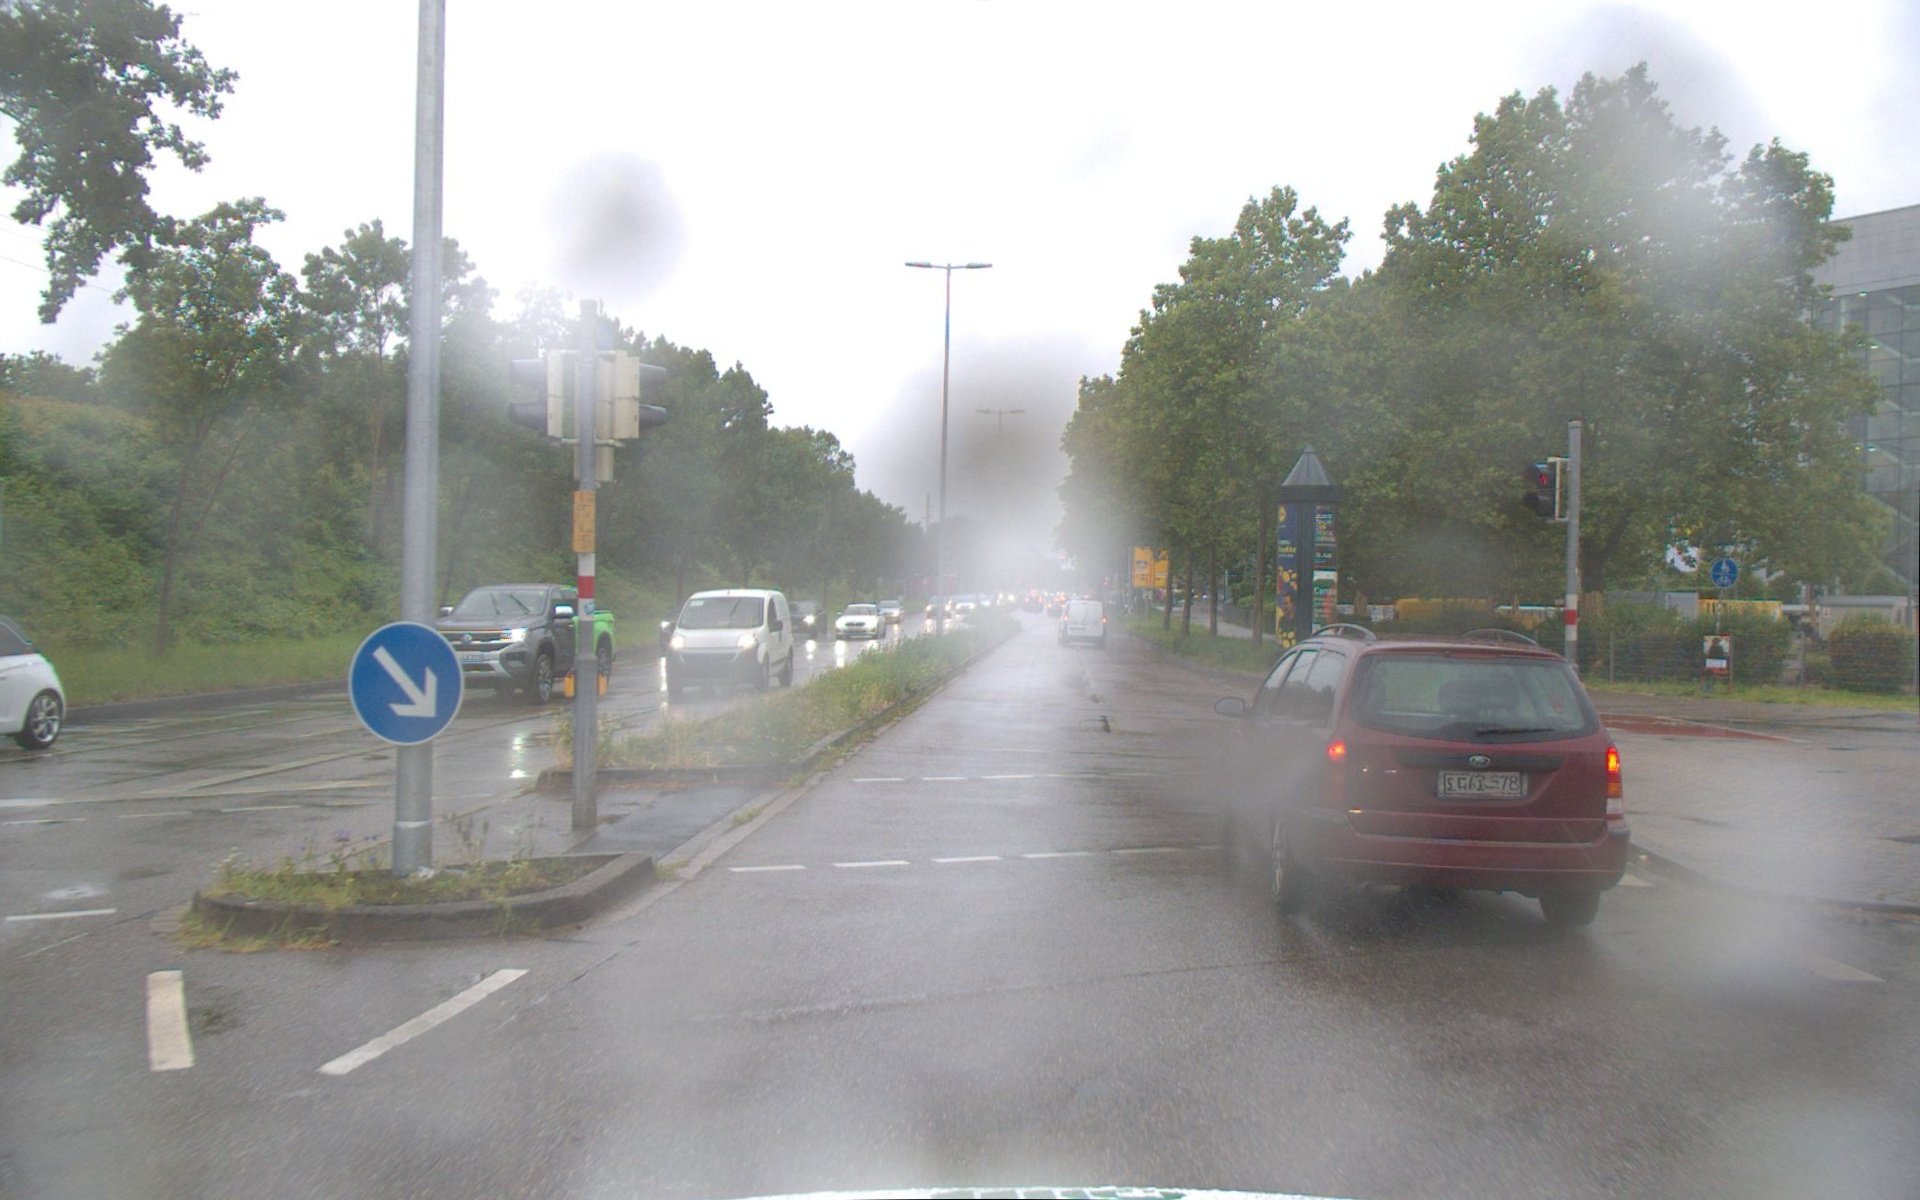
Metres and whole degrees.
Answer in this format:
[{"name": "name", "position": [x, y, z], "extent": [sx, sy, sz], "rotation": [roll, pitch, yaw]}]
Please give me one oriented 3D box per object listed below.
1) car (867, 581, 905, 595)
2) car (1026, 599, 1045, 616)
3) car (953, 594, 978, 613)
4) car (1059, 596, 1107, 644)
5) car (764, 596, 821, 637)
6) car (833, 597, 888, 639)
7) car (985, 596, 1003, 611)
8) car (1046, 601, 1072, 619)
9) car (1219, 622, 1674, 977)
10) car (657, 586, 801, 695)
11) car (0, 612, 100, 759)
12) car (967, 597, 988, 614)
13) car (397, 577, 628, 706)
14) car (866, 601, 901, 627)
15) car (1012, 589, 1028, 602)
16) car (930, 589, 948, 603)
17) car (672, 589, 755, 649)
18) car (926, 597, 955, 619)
[{"name": "car", "position": [-9.010, -1.496, 201.469], "extent": [4.229, 1.625, 1.948], "rotation": [0, 0, -32]}, {"name": "car", "position": [7.294, 0.718, 159.419], "extent": [1.662, 1.554, 3.848], "rotation": [1, 0, 5]}, {"name": "car", "position": [0.460, 0.307, 143.590], "extent": [1.922, 1.625, 4.286], "rotation": [1, 0, 3]}, {"name": "car", "position": [4.839, 0.766, 65.546], "extent": [1.700, 1.756, 4.245], "rotation": [2, 0, 2]}, {"name": "car", "position": [-7.385, 0.707, 73.331], "extent": [1.922, 1.732, 4.285], "rotation": [1, 0, 2]}, {"name": "car", "position": [-4.248, 0.768, 71.292], "extent": [1.922, 1.732, 4.285], "rotation": [1, 0, 2]}, {"name": "car", "position": [3.877, 0.378, 189.521], "extent": [1.922, 1.625, 4.286], "rotation": [1, 0, 3]}, {"name": "car", "position": [8.669, 0.859, 144.733], "extent": [2.102, 1.554, 4.195], "rotation": [1, 0, 5]}, {"name": "car", "position": [2.554, 0.951, 9.575], "extent": [1.608, 1.490, 3.734], "rotation": [3, 0, 2]}, {"name": "car", "position": [-3.920, 0.644, 28.717], "extent": [1.707, 1.732, 4.285], "rotation": [-1, 0, 2]}, {"name": "car", "position": [-10.273, 0.850, 16.211], "extent": [1.557, 1.428, 3.824], "rotation": [1, 0, 2]}, {"name": "car", "position": [1.791, 0.539, 166.877], "extent": [1.922, 1.625, 4.286], "rotation": [1, 0, 3]}, {"name": "car", "position": [-7.068, 0.587, 26.814], "extent": [2.022, 1.851, 5.543], "rotation": [1, 0, 2]}, {"name": "car", "position": [-5.008, 0.925, 108.691], "extent": [1.922, 1.625, 4.285], "rotation": [1, 0, 2]}, {"name": "car", "position": [7.331, -0.577, 201.808], "extent": [1.662, 1.554, 3.848], "rotation": [1, 0, 5]}, {"name": "car", "position": [-2.606, -0.504, 203.694], "extent": [1.922, 1.625, 4.285], "rotation": [1, 0, 2]}, {"name": "car", "position": [-7.747, 0.560, 52.351], "extent": [1.707, 1.732, 4.285], "rotation": [3, 0, 2]}, {"name": "car", "position": [-1.464, 0.581, 124.761], "extent": [1.922, 1.625, 4.285], "rotation": [1, 0, 2]}]
